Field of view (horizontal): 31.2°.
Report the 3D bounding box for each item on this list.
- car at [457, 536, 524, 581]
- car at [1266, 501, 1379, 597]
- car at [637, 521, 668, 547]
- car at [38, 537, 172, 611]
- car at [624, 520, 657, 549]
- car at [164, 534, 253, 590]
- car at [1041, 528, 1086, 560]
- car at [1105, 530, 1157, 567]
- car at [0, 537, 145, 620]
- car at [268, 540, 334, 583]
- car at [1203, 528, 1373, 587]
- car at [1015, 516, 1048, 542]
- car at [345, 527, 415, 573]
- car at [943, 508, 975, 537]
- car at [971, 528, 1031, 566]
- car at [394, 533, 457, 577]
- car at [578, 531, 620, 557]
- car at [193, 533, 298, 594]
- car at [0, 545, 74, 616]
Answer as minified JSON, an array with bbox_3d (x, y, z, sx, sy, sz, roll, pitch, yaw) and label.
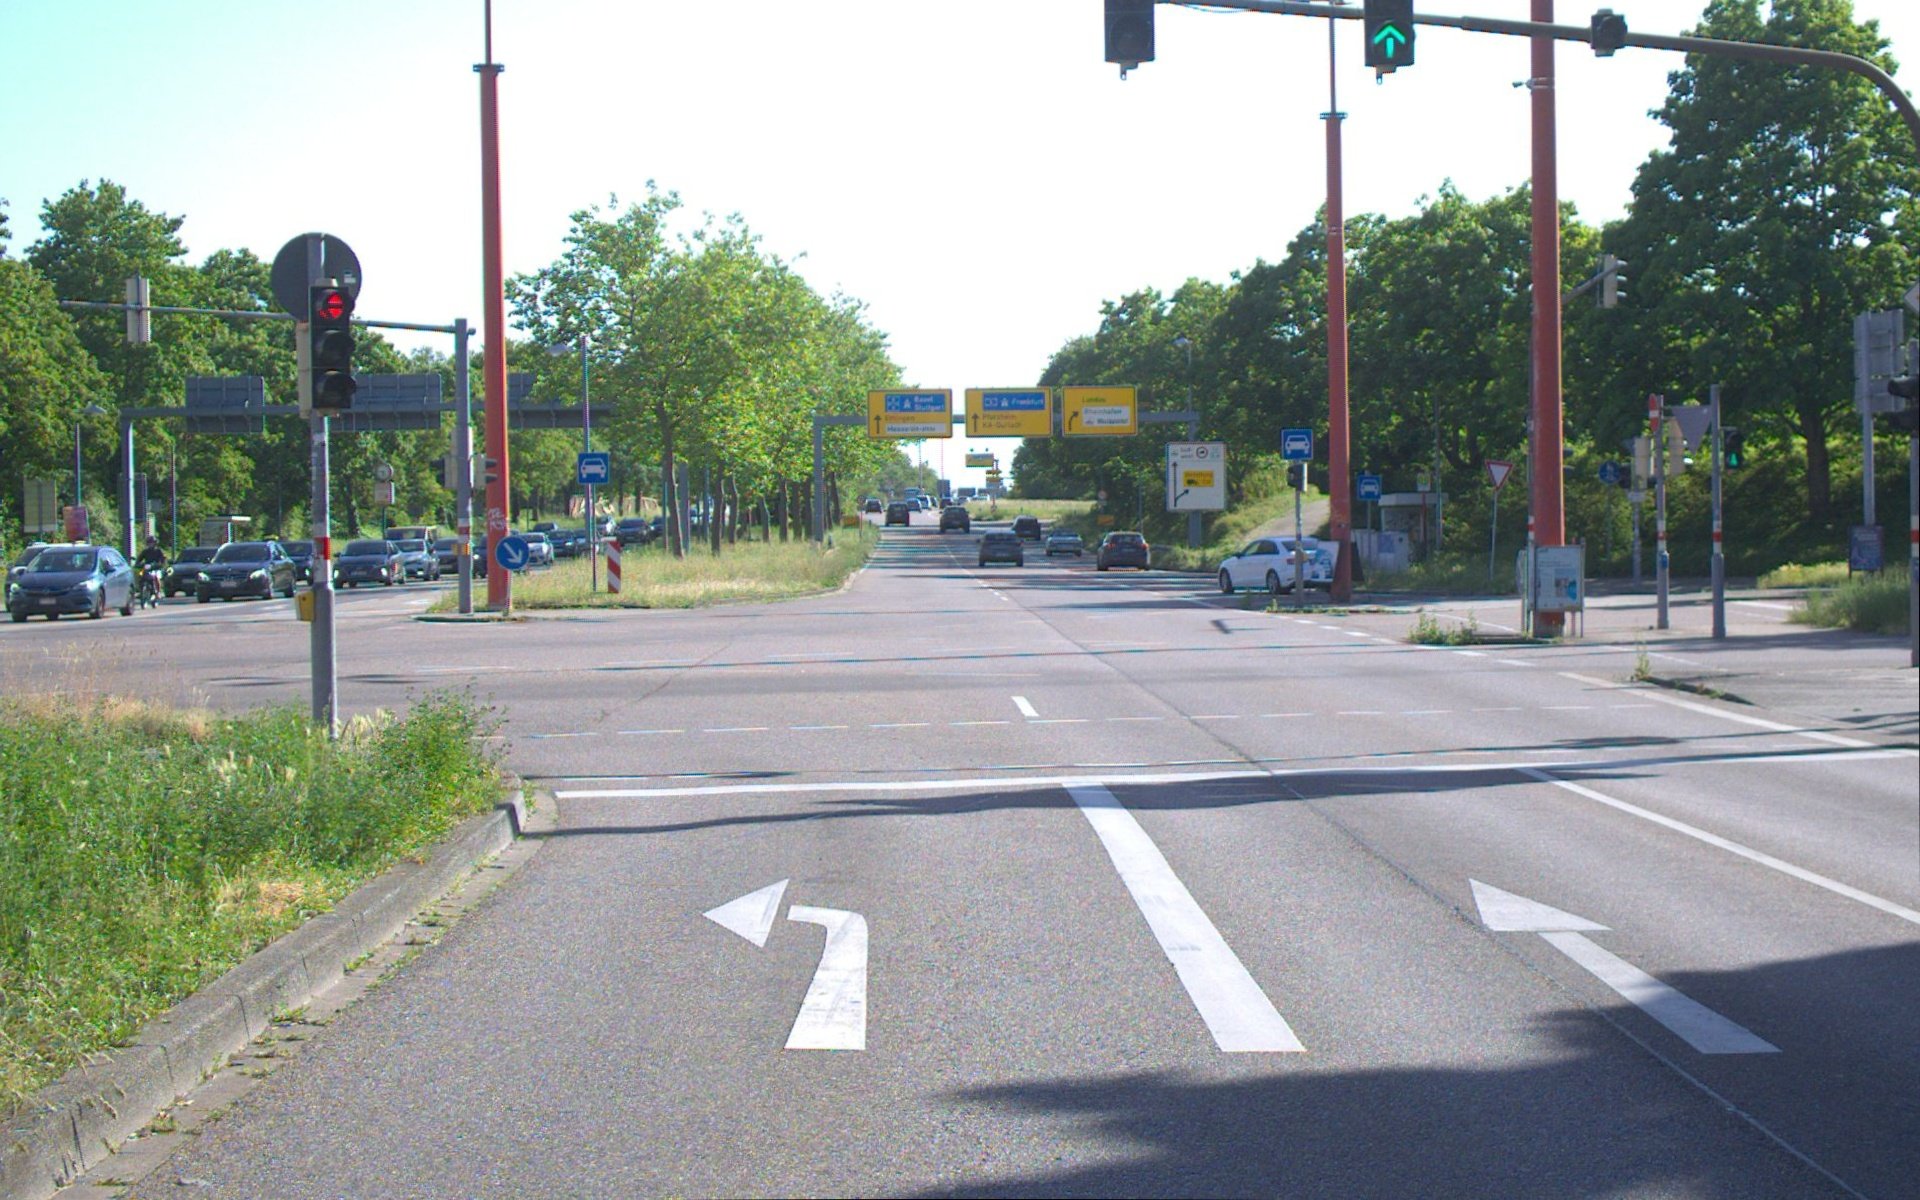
[{"bbox_3d":[-15.864,-1.406,116.390,1.701,1.416,4.000,2,1,-1],"label":"car"},{"bbox_3d":[7.455,-1.053,70.403,1.994,1.881,3.998,0,1,10],"label":"car"},{"bbox_3d":[-20.483,-4.398,229.204,1.657,1.741,4.000,0,1,0],"label":"car"},{"bbox_3d":[-19.366,-0.604,78.036,1.838,1.595,4.438,-1,1,1],"label":"car"},{"bbox_3d":[-19.355,-3.958,208.640,1.625,1.733,4.000,-1,1,0],"label":"car"},{"bbox_3d":[-21.937,-1.120,100.479,1.876,1.570,4.000,0,1,-2],"label":"car"},{"bbox_3d":[4.968,-2.704,165.790,1.993,1.535,4.000,0,1,-1],"label":"car"},{"bbox_3d":[6.331,-1.929,127.264,1.738,1.337,3.082,-1,1,-1],"label":"car"},{"bbox_3d":[-18.150,-0.468,69.888,1.993,1.589,4.464,-1,1,1],"label":"car"},{"bbox_3d":[-22.859,-1.357,119.393,1.544,1.428,3.886,-2,1,0],"label":"car"},{"bbox_3d":[7.913,-1.041,83.372,2.054,1.366,4.392,-1,1,-27],"label":"car"},{"bbox_3d":[4.530,-4.504,217.371,1.993,1.535,4.000,-2,1,0],"label":"car"},{"bbox_3d":[-18.181,-1.581,107.918,1.548,1.372,4.263,-1,1,-1],"label":"car"},{"bbox_3d":[-0.073,-5.438,240.937,2.154,2.007,4.000,-1,1,-1],"label":"car"},{"bbox_3d":[1.661,-2.176,139.880,1.993,1.491,4.001,-1,1,-5],"label":"car"},{"bbox_3d":[-18.319,-1.556,117.983,1.605,1.454,3.951,-1,1,-1],"label":"car"},{"bbox_3d":[-18.731,-2.897,178.383,2.003,1.303,4.001,-1,1,-4],"label":"car"},{"bbox_3d":[-18.074,-0.936,87.122,1.876,1.480,4.606,0,1,-2],"label":"car"},{"bbox_3d":[-23.256,-0.486,84.679,1.800,1.702,4.060,-1,1,-1],"label":"car"}]
